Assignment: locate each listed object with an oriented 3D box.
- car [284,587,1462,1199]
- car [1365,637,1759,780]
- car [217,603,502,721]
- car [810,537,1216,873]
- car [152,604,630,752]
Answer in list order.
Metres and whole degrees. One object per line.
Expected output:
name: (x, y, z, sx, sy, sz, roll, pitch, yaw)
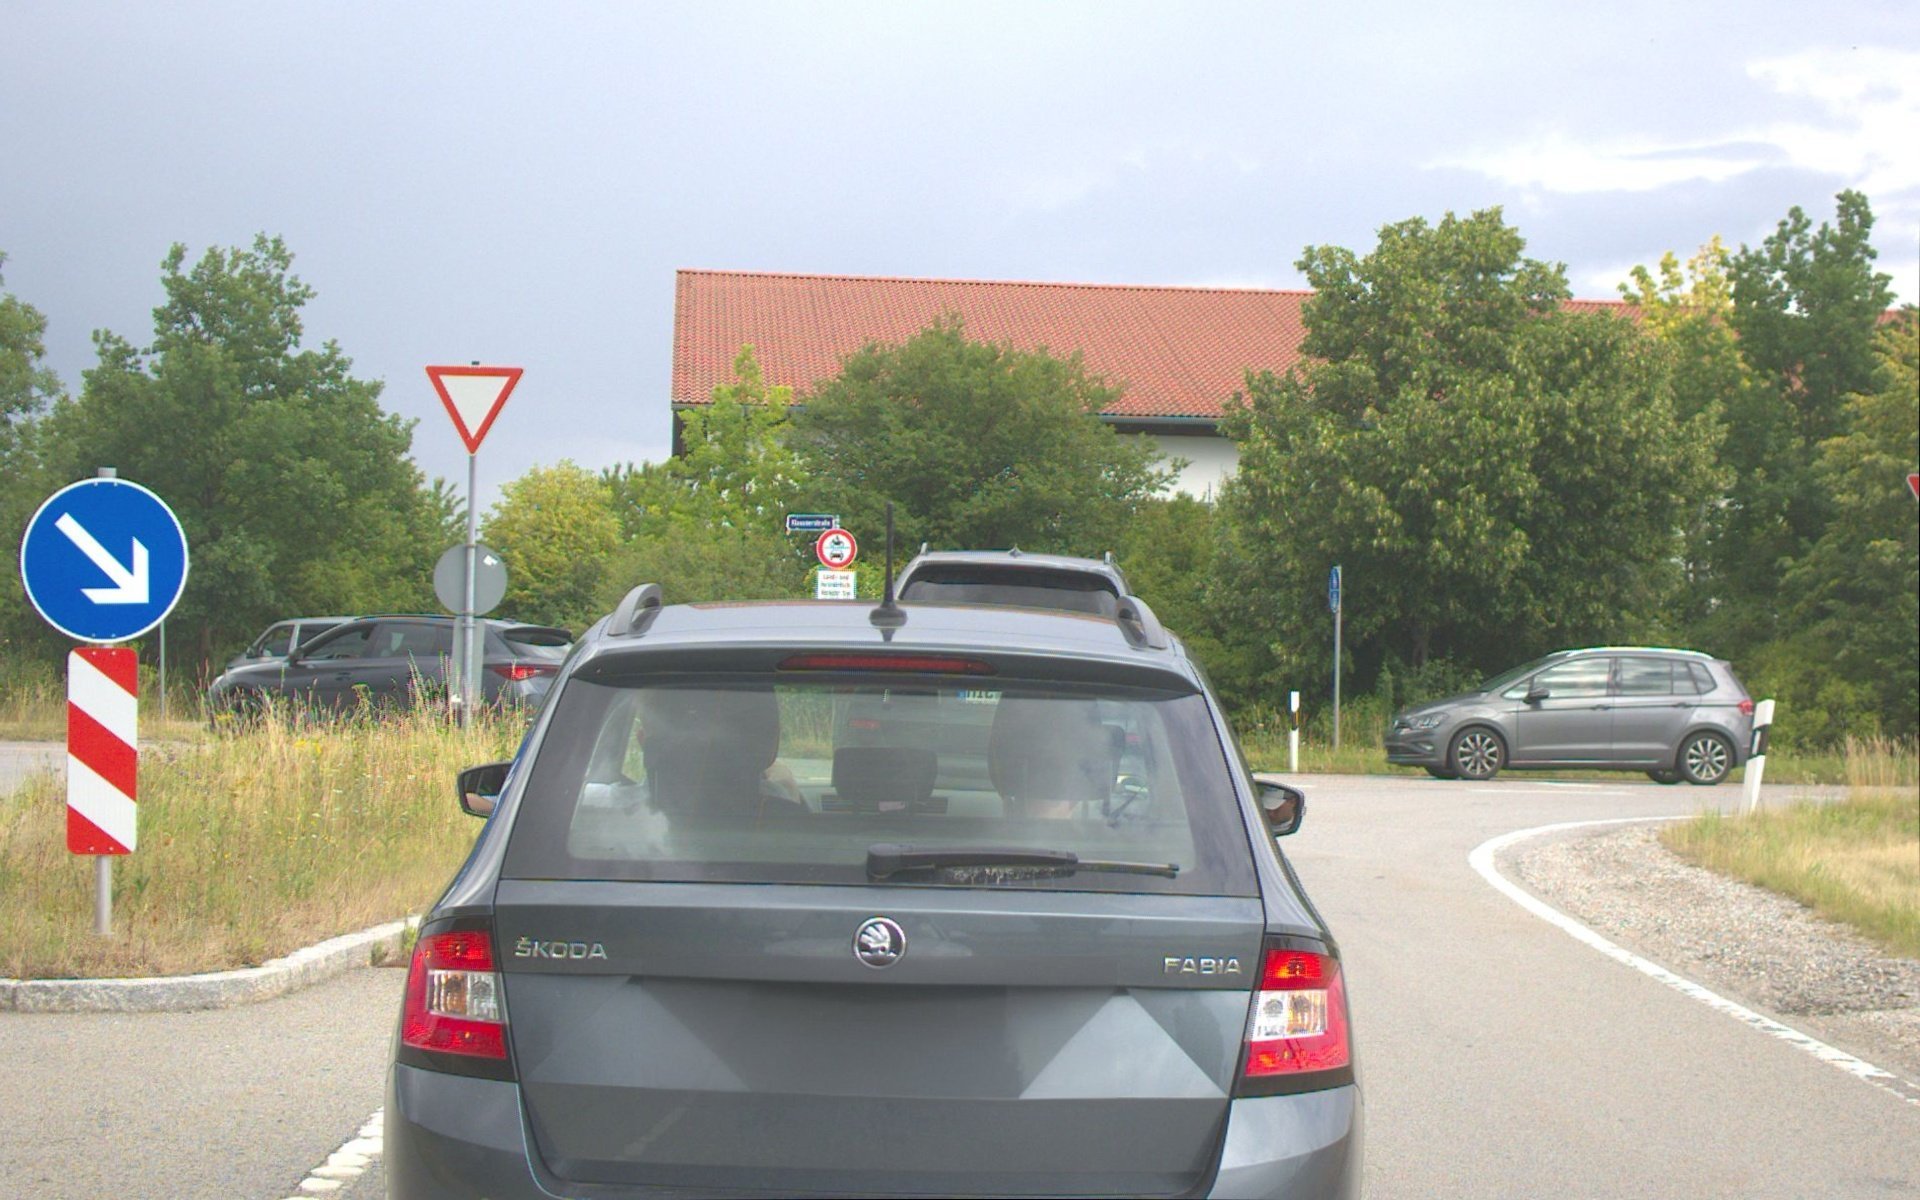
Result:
car: (-0.148, 0.718, 6.784, 1.676, 1.458, 3.708, 1, 0, -1)
car: (7.018, 1.258, 40.369, 4.210, 1.596, 2.000, 0, 0, -3)
car: (-11.036, 1.100, 63.066, 4.908, 2.007, 2.337, 1, 1, 35)
car: (0.190, 0.613, 20.986, 1.993, 1.768, 4.644, 2, -1, -5)
car: (-5.613, 0.742, 34.080, 4.344, 1.340, 1.681, 1, 0, 12)
